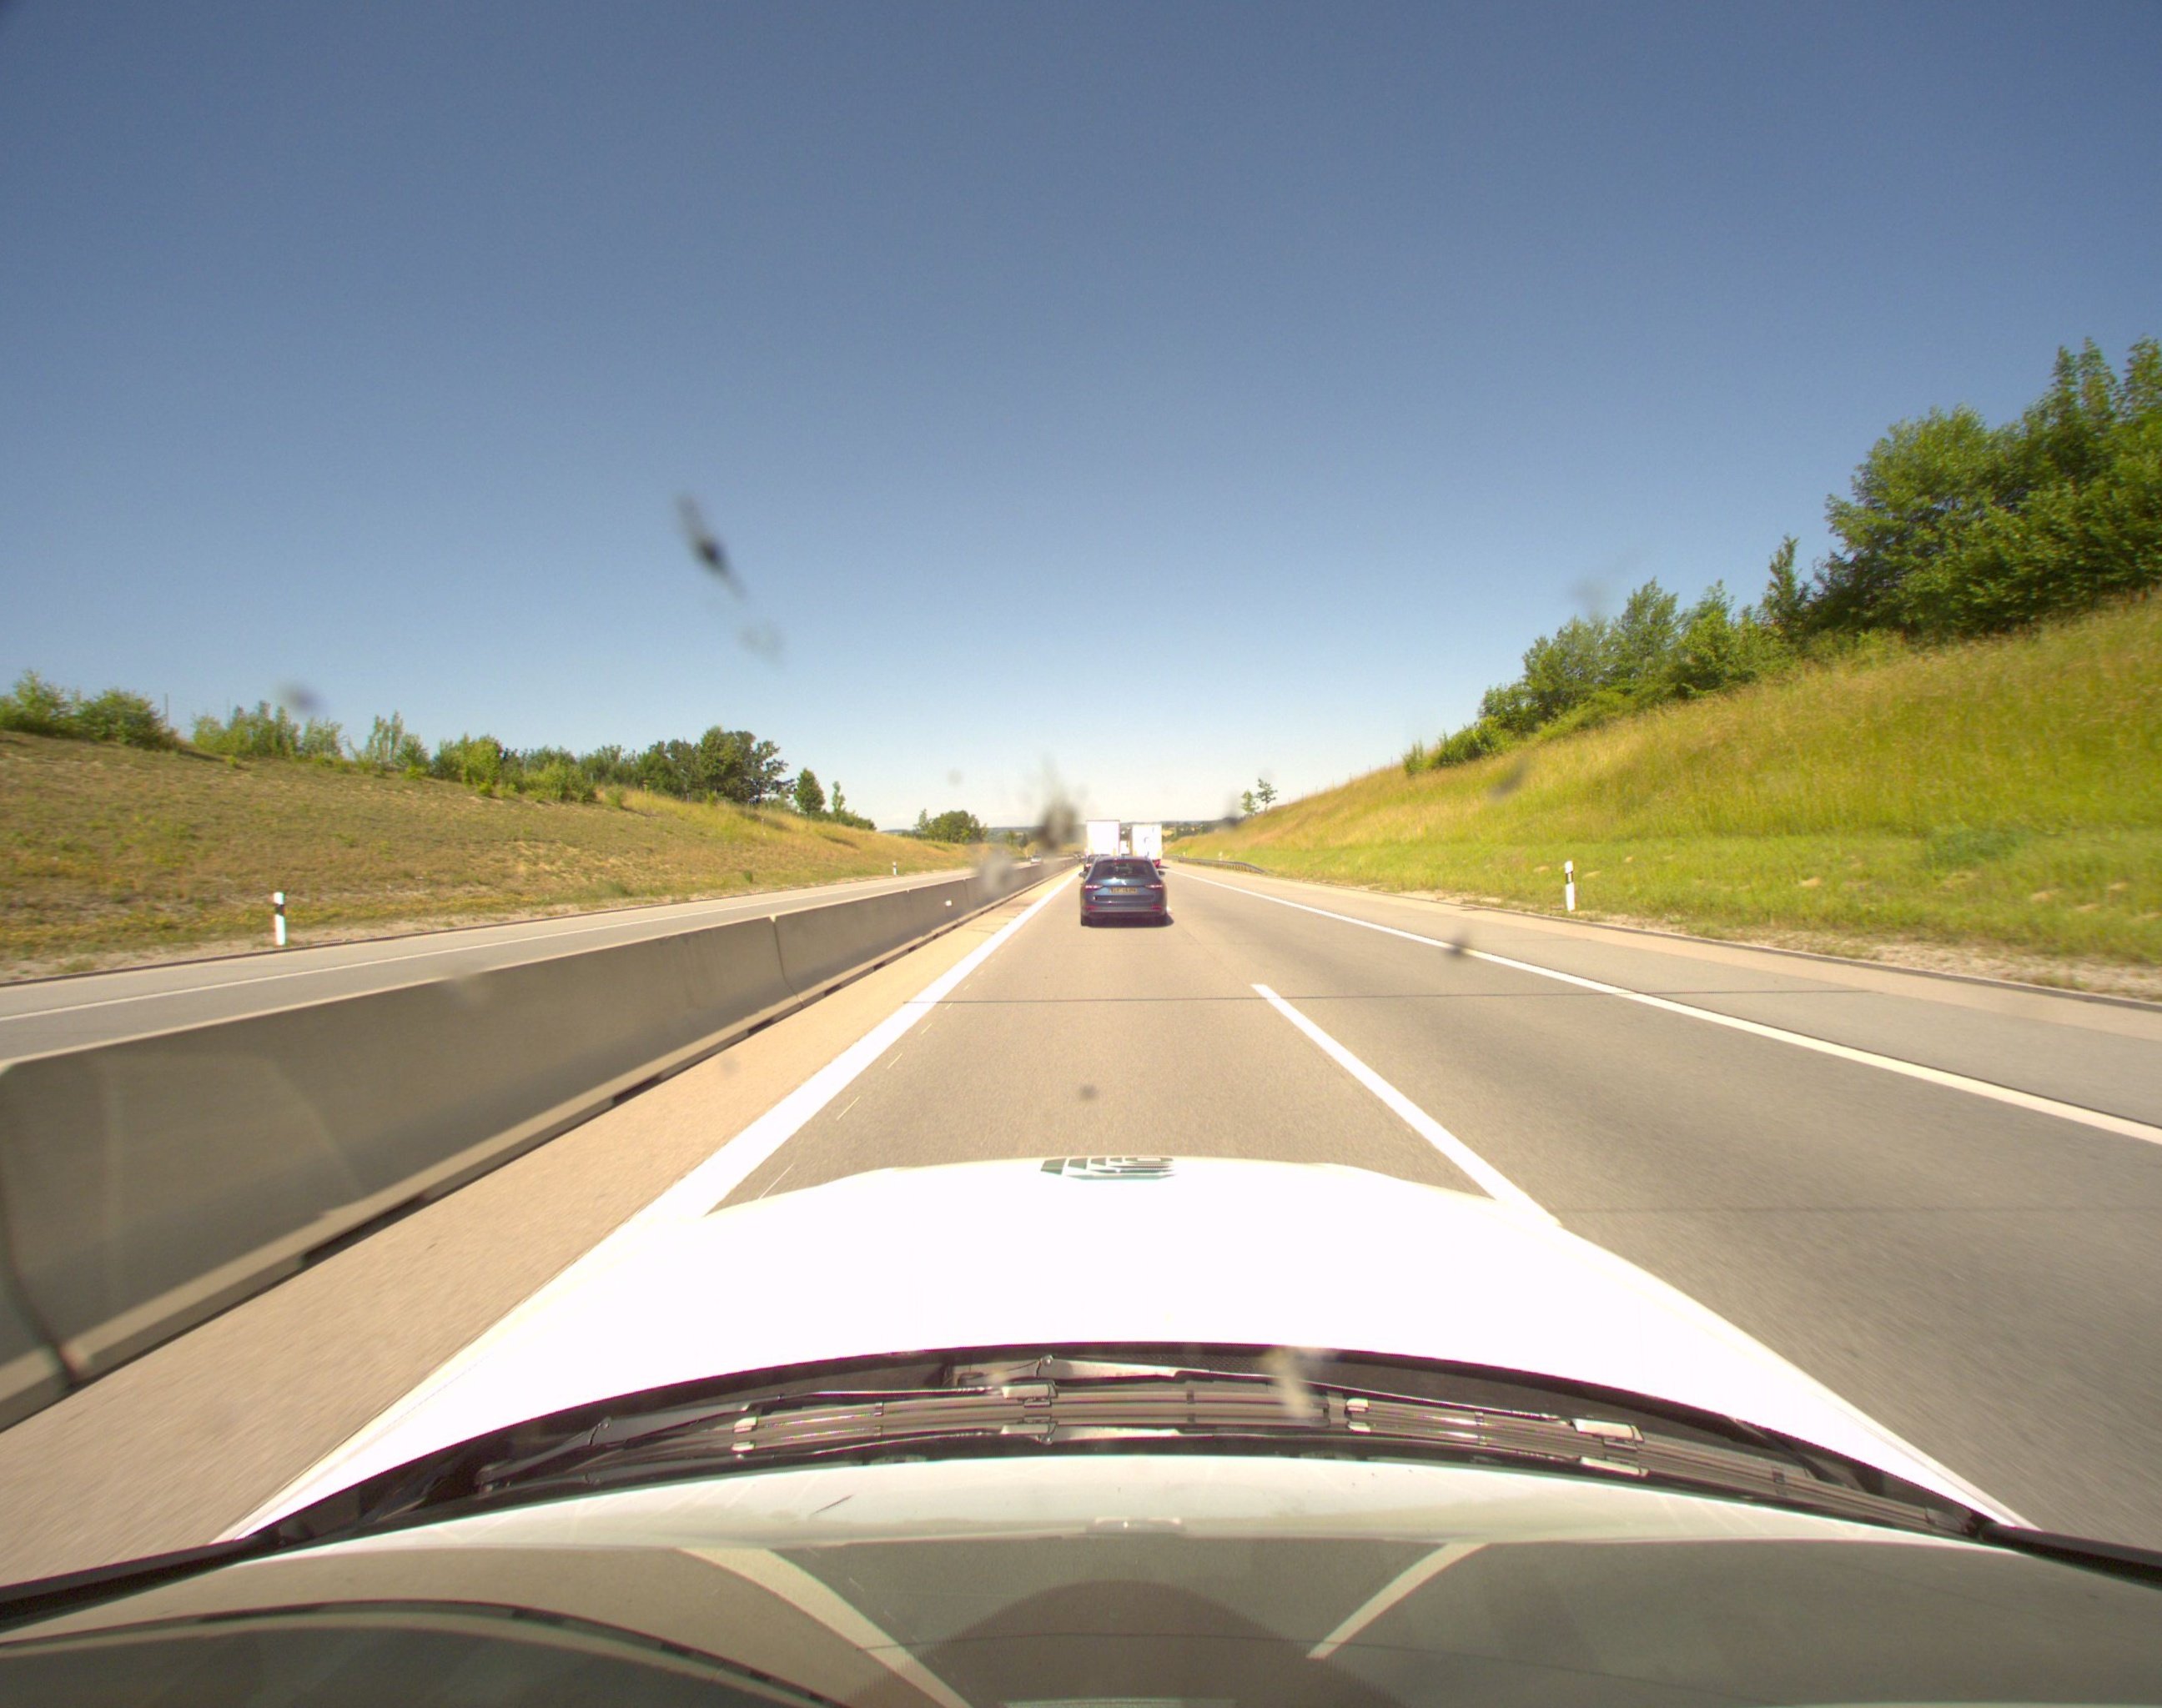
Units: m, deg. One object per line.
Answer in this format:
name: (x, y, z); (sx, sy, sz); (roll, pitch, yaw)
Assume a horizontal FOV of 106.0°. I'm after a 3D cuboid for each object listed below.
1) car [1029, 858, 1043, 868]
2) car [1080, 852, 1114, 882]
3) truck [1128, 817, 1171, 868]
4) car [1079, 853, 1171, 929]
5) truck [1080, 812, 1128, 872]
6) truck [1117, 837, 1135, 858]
car: (-7.056, 1.399, 128.529); (1.796, 1.471, 4.529); (-1, 0, 2)
car: (0.837, 0.665, 43.722); (1.694, 1.441, 4.000); (-3, 0, 0)
truck: (6.453, -1.048, 77.457); (3.588, 4.381, 11.246); (-3, 0, 4)
car: (0.868, 0.716, 17.648); (1.771, 1.441, 3.789); (-1, 0, 0)
truck: (2.087, -0.957, 68.199); (3.196, 4.381, 11.247); (-3, 0, 5)
truck: (10.446, -1.500, 188.004); (3.588, 4.381, 11.246); (-3, 0, 4)
